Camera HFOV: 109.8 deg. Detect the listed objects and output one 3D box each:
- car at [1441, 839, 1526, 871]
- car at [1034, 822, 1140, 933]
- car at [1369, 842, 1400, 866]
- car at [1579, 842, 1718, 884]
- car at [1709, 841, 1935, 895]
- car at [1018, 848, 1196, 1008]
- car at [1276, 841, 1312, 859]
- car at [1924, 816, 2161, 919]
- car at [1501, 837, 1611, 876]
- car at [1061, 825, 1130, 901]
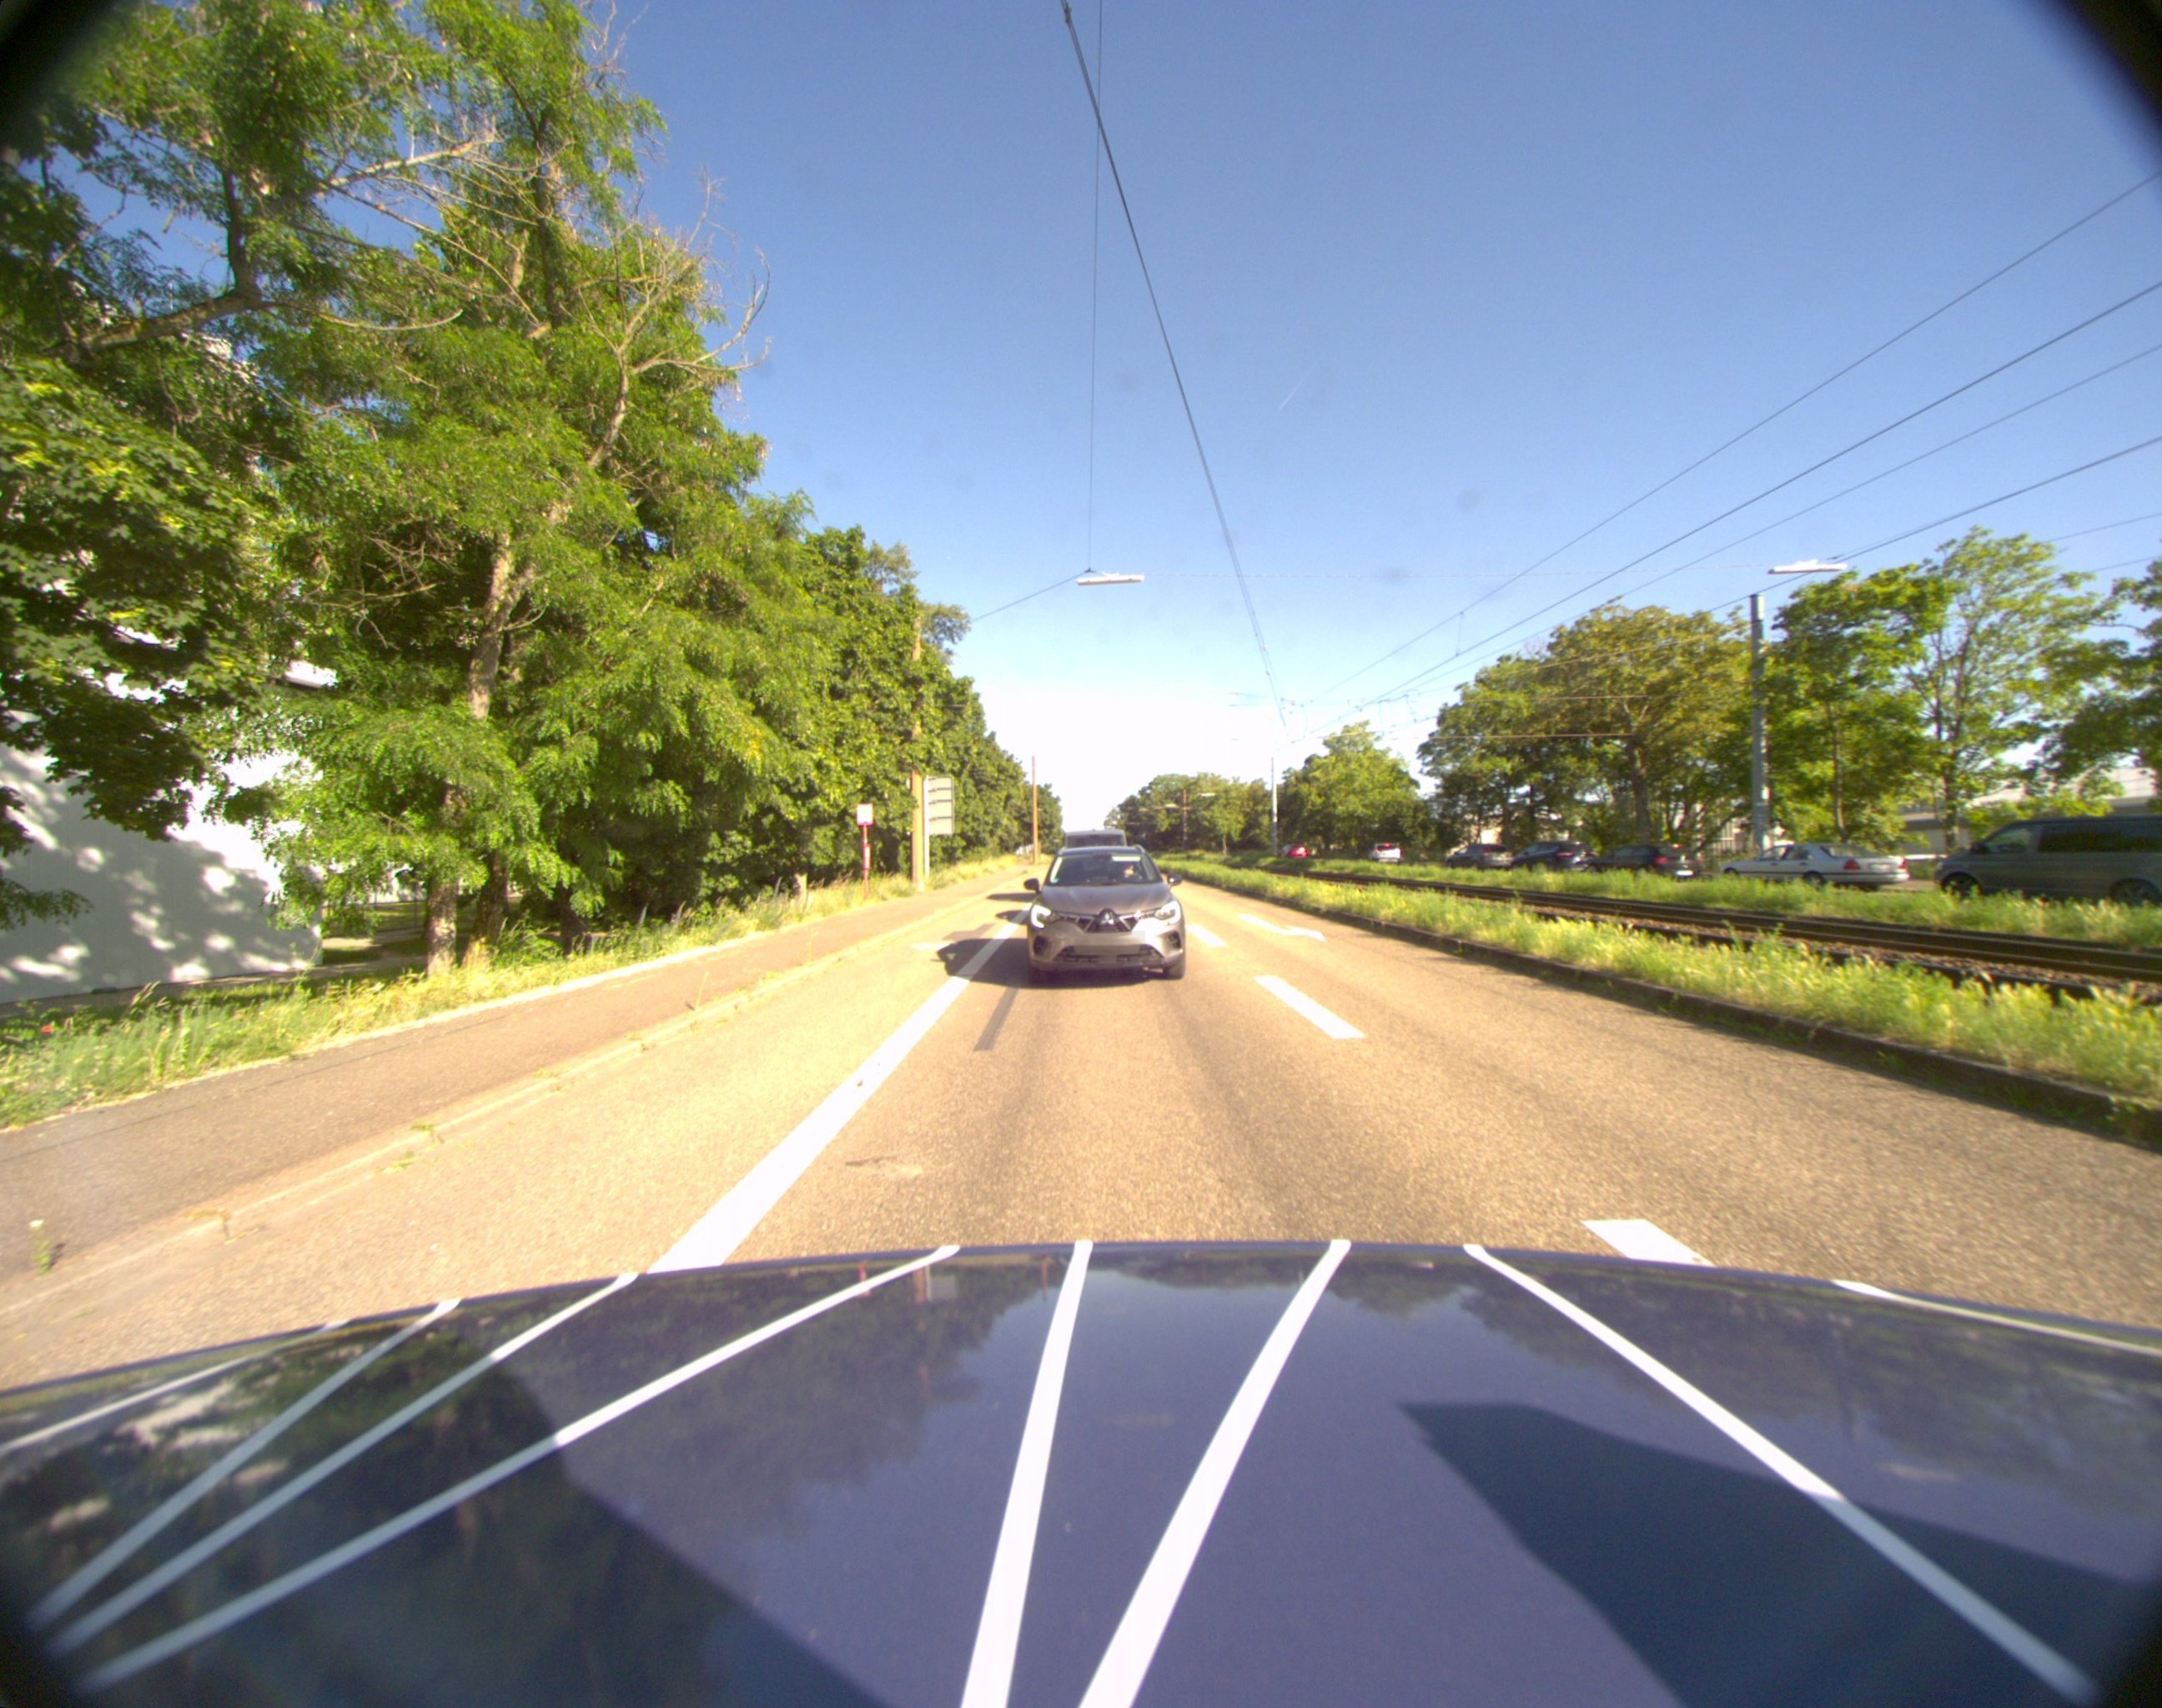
[{"bbox_3d":[21.561,0.036,40.935,2.130,1.554,4.560,-2,0,0],"label":"car"},{"bbox_3d":[0.139,0.455,16.789,1.998,2.113,4.000,-2,0,1],"label":"car"},{"bbox_3d":[20.881,-0.017,52.373,1.857,1.549,4.162,-1,0,21],"label":"car"},{"bbox_3d":[21.355,0.298,28.858,1.960,1.418,4.488,-2,0,1],"label":"car"},{"bbox_3d":[21.562,0.367,22.465,2.130,1.372,4.615,-2,0,-1],"label":"car"},{"bbox_3d":[0.226,0.741,10.054,1.796,1.583,4.529,-1,1,-1],"label":"car"},{"bbox_3d":[20.956,-0.388,74.987,2.321,1.723,4.798,-2,0,3],"label":"car"},{"bbox_3d":[21.251,0.221,15.849,2.207,1.923,4.685,-2,0,2],"label":"car"},{"bbox_3d":[21.310,0.106,34.353,2.130,1.578,4.616,-2,0,1],"label":"car"},{"bbox_3d":[0.369,0.267,24.619,1.999,2.198,4.786,-1,0,-1],"label":"car"}]
